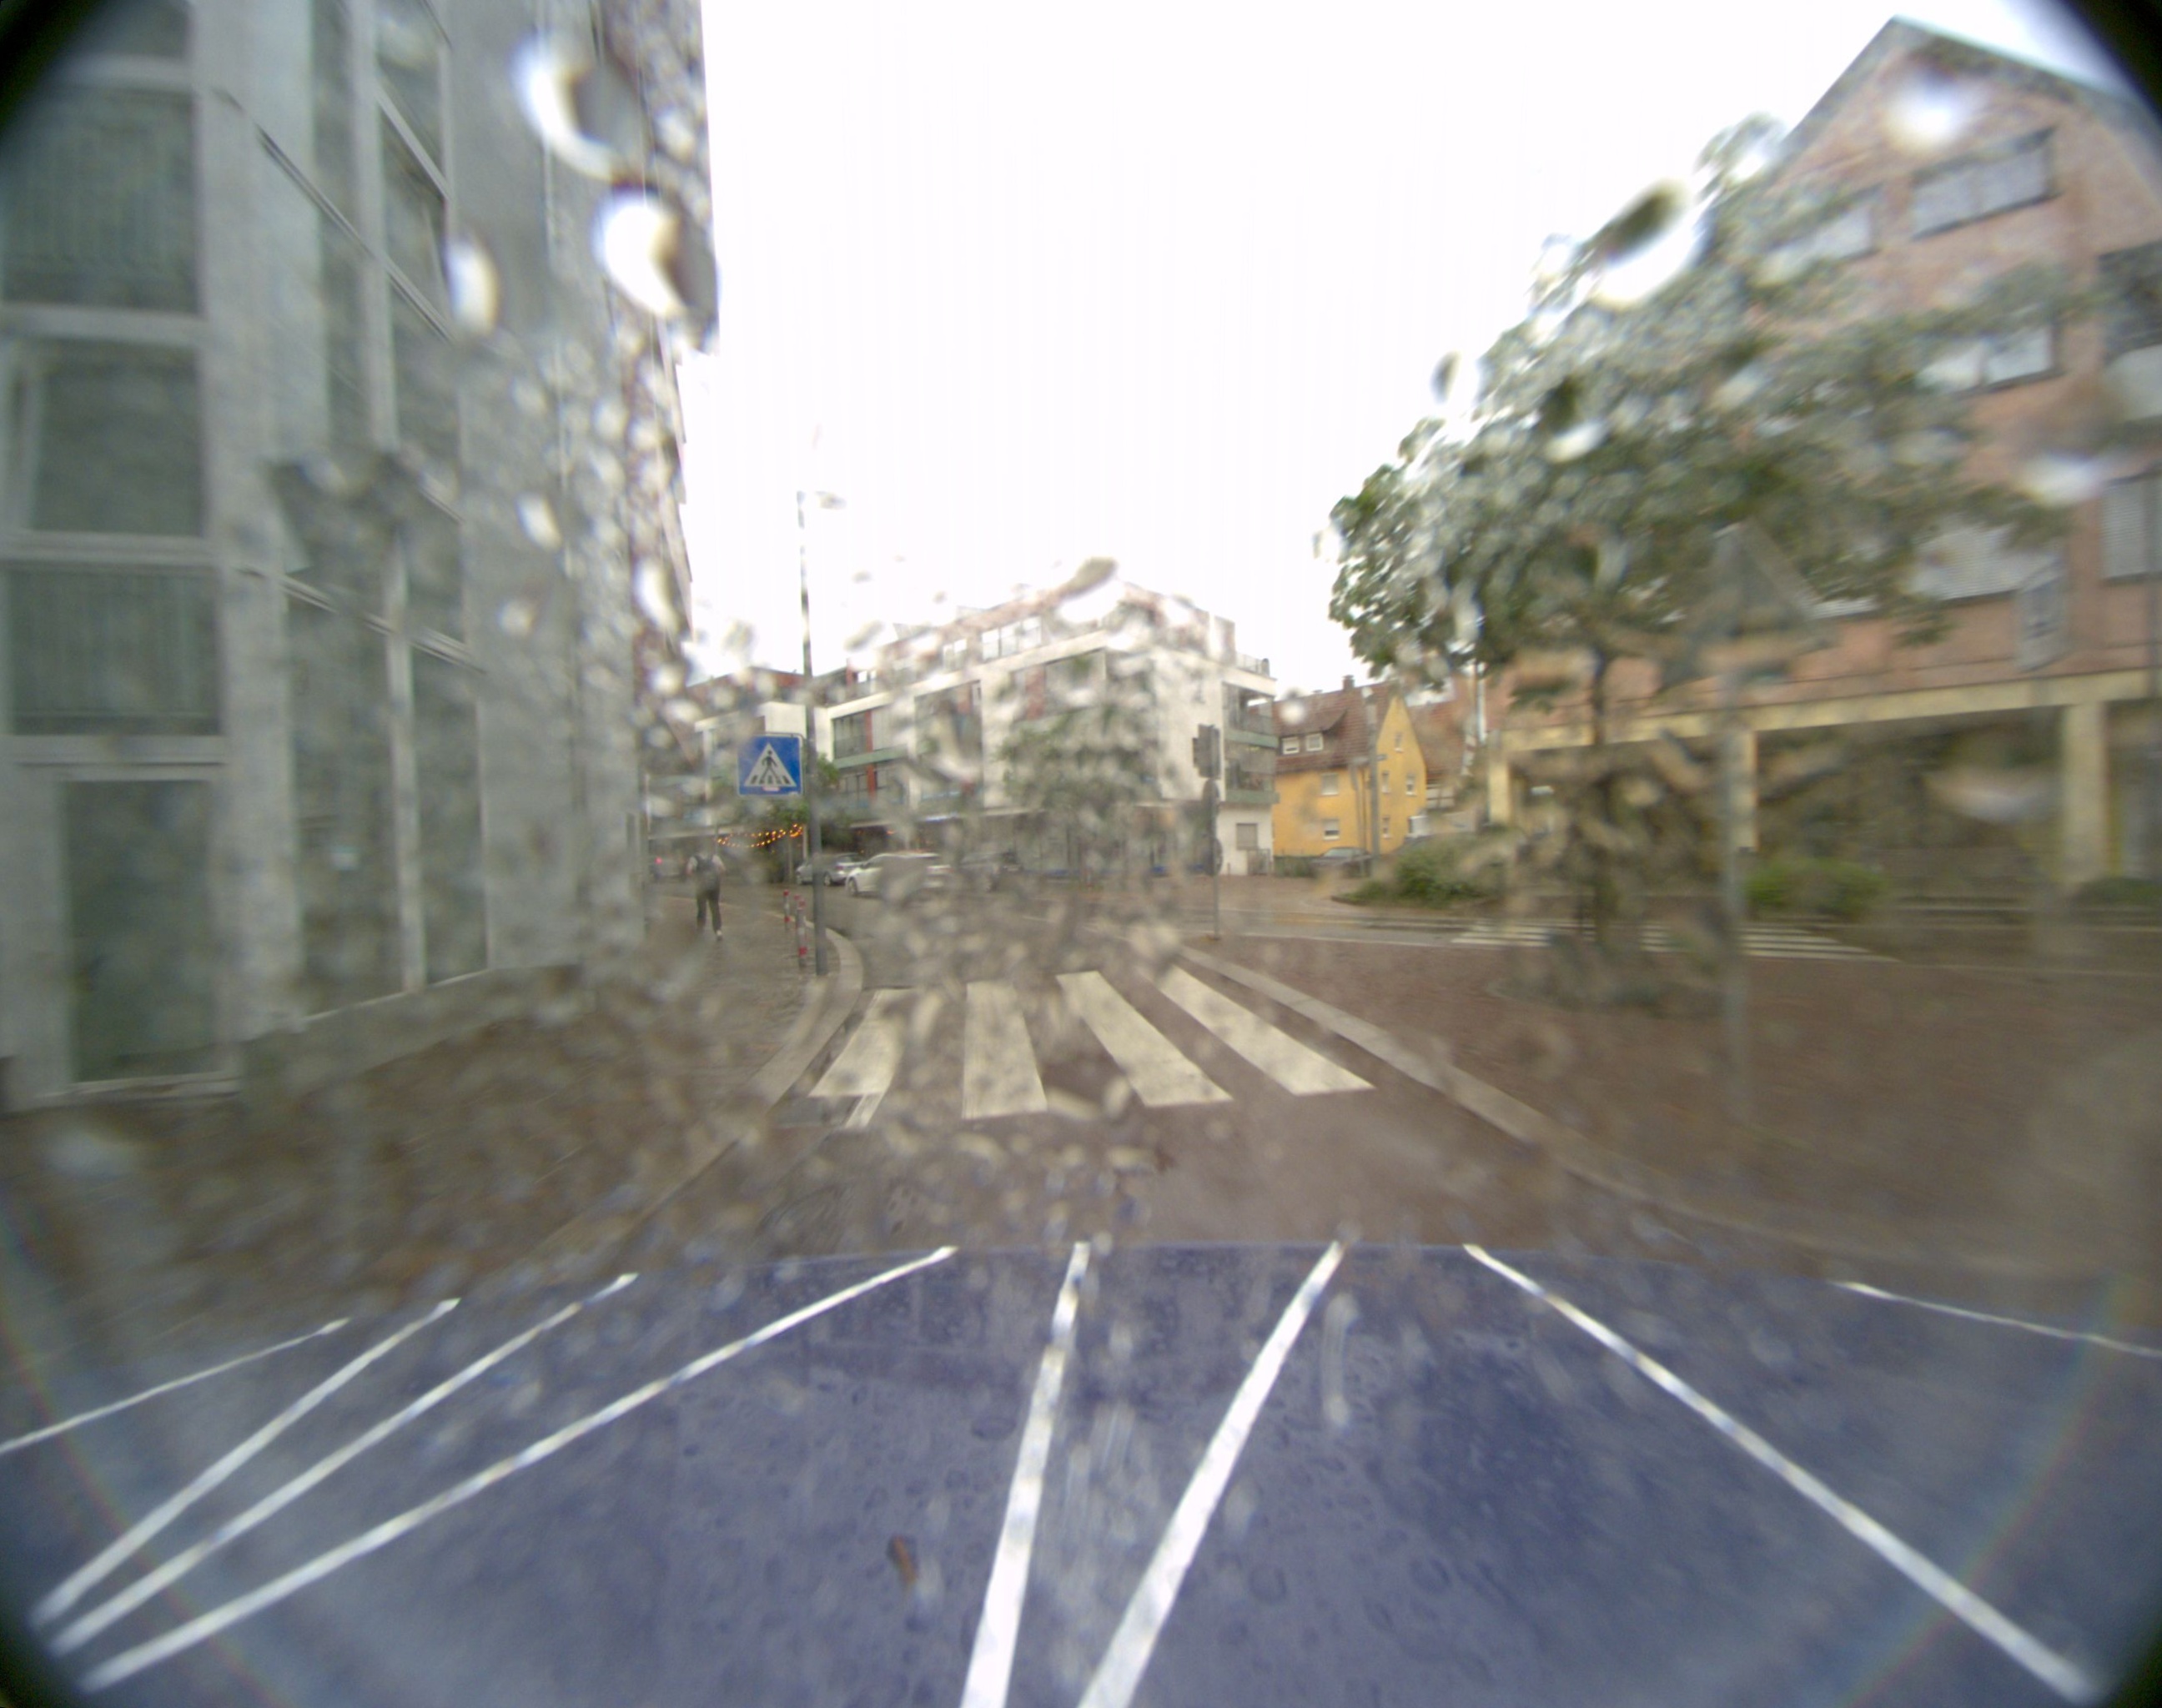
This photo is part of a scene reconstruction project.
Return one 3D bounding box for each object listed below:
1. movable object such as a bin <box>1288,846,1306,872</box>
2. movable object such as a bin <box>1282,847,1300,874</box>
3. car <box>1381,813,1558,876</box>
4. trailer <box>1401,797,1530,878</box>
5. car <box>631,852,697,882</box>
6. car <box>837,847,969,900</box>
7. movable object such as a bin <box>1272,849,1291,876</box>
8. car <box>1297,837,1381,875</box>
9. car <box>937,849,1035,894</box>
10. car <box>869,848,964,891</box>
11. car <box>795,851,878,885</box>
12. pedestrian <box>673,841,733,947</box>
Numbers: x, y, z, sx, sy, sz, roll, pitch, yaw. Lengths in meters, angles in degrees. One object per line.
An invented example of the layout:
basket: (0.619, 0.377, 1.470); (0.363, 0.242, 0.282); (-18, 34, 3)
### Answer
movable object such as a bin: (10.401, 0.227, 36.533); (0.630, 1.226, 0.524); (0, 4, 44)
movable object such as a bin: (9.987, 0.312, 36.120); (0.630, 1.226, 0.524); (0, 4, 44)
car: (10.359, -0.229, 20.318); (3.989, 1.500, 1.839); (-1, 3, 34)
trailer: (11.427, -0.436, 22.606); (3.085, 2.075, 1.840); (-5, -2, 34)
car: (-22.654, 0.719, 41.250); (4.502, 1.457, 1.789); (-2, 1, 43)
car: (-5.838, 0.588, 24.483); (1.928, 1.483, 4.849); (-3, 1, -43)
movable object such as a bin: (9.337, 0.377, 35.438); (0.630, 1.226, 0.524); (0, 4, 44)
car: (12.345, 0.042, 36.196); (1.994, 1.500, 4.552); (0, 3, 44)
car: (-3.500, 0.608, 27.538); (1.683, 1.428, 3.575); (-5, 3, -43)
car: (-6.804, 0.607, 31.267); (3.910, 1.546, 1.807); (-1, 3, 42)
car: (-11.221, 0.635, 34.772); (3.850, 1.387, 1.729); (-1, 3, 40)
pedestrian: (-6.829, 0.688, 13.788); (0.823, 1.796, 1.144); (-4, 3, -24)
